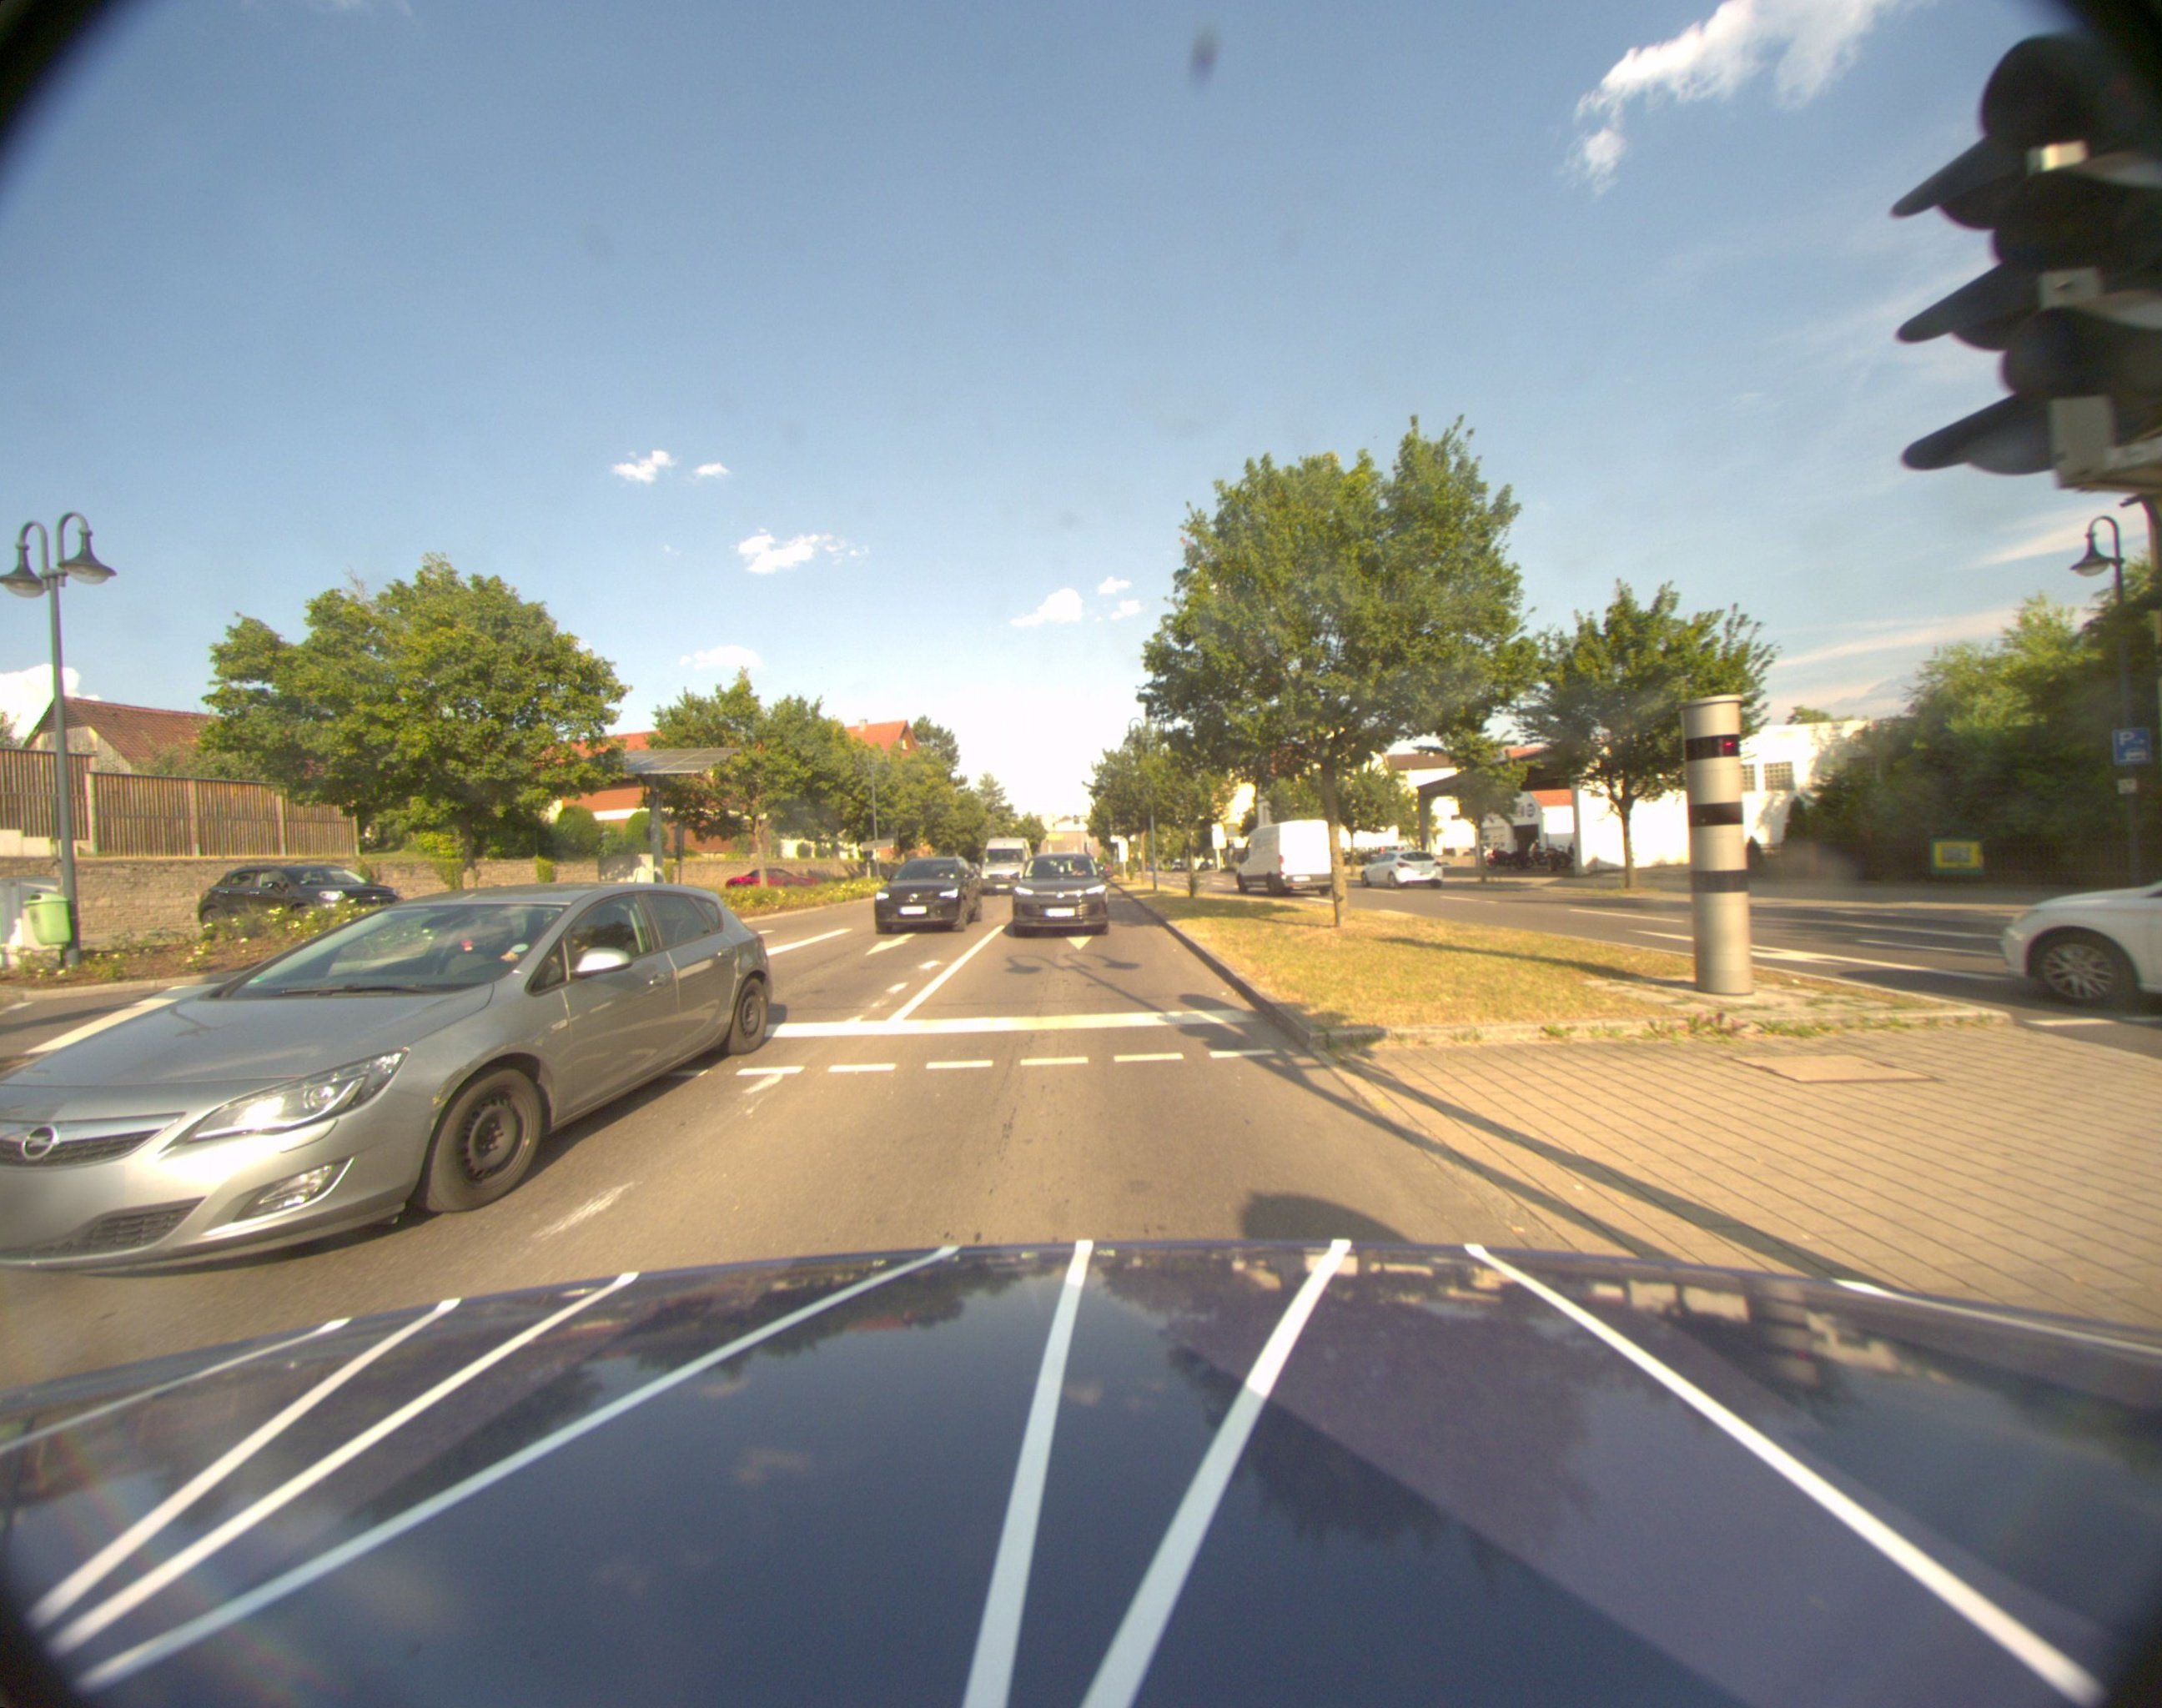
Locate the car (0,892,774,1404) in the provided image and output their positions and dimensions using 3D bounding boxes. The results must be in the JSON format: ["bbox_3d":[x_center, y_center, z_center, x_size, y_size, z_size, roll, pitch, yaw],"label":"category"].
[{"bbox_3d":[-3.500,1.032,4.457,1.651,1.414,4.144,-1,0,1],"label":"car"}]

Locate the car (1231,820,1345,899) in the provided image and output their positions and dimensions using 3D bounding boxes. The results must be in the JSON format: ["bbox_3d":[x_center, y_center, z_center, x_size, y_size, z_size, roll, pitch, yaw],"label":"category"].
[{"bbox_3d":[7.144,0.189,26.990,2.090,2.461,5.477,-2,0,-5],"label":"car"}]

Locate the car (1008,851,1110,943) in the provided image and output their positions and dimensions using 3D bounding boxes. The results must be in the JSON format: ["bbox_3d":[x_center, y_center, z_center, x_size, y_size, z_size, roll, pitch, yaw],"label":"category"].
[{"bbox_3d":[-0.382,0.791,15.763,1.768,1.582,4.056,-3,0,0],"label":"car"}]

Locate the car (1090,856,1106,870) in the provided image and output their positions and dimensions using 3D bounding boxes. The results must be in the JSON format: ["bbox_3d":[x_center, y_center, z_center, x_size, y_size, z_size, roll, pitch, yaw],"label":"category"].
[{"bbox_3d":[2.307,1.229,103.799,1.815,1.861,4.002,-2,0,6],"label":"car"}]

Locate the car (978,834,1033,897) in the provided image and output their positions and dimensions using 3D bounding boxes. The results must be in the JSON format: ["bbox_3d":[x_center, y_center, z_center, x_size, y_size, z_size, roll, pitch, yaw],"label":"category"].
[{"bbox_3d":[-3.433,0.498,35.811,2.040,2.642,6.648,-1,0,-1],"label":"car"}]

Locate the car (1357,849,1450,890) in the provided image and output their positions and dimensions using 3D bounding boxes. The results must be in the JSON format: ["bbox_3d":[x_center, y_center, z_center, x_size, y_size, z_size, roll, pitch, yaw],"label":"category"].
[{"bbox_3d":[12.362,0.553,29.440,1.696,1.405,4.213,-2,0,-1],"label":"car"}]

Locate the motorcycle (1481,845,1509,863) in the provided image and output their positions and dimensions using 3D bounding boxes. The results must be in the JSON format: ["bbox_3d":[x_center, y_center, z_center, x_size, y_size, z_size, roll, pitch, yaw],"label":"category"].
[{"bbox_3d":[27.597,0.027,50.658,0.488,1.139,2.118,-3,-1,-6],"label":"motorcycle"}]

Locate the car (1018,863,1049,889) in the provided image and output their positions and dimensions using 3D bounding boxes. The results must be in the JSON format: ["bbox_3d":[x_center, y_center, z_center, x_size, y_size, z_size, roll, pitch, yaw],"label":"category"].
[{"bbox_3d":[-3.185,1.471,52.014,1.768,1.582,4.056,-3,0,0],"label":"car"}]

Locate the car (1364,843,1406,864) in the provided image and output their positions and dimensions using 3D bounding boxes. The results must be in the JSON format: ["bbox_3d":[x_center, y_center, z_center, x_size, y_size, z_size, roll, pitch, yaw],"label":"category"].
[{"bbox_3d":[24.142,-0.025,60.339,3.438,1.555,1.583,-2,0,-39],"label":"car"}]

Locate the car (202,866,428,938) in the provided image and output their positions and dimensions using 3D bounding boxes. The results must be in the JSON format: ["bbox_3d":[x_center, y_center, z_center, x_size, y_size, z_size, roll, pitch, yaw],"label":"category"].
[{"bbox_3d":[-17.505,1.079,17.417,4.072,1.448,1.680,-2,0,13],"label":"car"}]

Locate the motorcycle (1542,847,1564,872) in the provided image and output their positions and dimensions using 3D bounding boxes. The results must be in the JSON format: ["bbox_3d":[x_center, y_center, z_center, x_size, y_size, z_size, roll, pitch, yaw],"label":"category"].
[{"bbox_3d":[21.552,0.240,34.679,0.549,1.092,2.052,-3,-1,40],"label":"motorcycle"}]

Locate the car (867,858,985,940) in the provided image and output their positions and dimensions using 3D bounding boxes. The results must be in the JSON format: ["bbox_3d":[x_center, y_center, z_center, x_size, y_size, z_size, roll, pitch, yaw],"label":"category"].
[{"bbox_3d":[-3.371,0.921,17.324,1.792,1.596,4.056,-2,0,0],"label":"car"}]

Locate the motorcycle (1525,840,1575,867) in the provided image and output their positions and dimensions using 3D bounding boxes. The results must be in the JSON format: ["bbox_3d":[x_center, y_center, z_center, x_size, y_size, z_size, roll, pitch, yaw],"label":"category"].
[{"bbox_3d":[24.039,-0.012,39.005,0.489,1.314,2.114,-2,-1,-32],"label":"motorcycle"}]

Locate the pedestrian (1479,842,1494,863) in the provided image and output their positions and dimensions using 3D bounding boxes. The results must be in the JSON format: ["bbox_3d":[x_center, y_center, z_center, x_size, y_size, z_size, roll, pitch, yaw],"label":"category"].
[{"bbox_3d":[27.040,-0.094,50.635,0.596,1.332,0.584,-2,0,-7],"label":"pedestrian"}]

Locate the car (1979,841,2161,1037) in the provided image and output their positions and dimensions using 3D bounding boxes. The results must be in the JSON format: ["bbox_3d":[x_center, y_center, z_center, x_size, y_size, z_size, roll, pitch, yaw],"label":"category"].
[{"bbox_3d":[8.849,0.612,4.728,1.762,1.403,4.000,-2,0,0],"label":"car"}]

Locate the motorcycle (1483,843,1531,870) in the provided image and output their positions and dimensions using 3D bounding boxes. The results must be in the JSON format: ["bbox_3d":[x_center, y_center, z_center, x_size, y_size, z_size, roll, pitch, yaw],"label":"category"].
[{"bbox_3d":[21.849,0.146,38.995,0.489,1.314,2.114,-2,-1,-31],"label":"motorcycle"}]

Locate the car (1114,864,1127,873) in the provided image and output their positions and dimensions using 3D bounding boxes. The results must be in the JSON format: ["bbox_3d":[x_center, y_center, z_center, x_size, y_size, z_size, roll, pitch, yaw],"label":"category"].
[{"bbox_3d":[7.486,2.668,143.165,1.780,1.516,3.843,-2,0,14],"label":"car"}]

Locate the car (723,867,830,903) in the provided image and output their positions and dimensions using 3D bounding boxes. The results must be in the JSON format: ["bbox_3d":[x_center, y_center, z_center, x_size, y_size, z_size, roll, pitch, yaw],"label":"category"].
[{"bbox_3d":[-13.439,1.363,33.670,3.994,1.422,1.749,-2,0,8],"label":"car"}]

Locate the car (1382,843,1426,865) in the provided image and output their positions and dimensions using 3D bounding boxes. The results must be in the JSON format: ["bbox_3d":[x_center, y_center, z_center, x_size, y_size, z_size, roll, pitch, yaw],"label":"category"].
[{"bbox_3d":[24.468,0.002,57.559,3.438,1.534,1.617,-2,0,-39],"label":"car"}]

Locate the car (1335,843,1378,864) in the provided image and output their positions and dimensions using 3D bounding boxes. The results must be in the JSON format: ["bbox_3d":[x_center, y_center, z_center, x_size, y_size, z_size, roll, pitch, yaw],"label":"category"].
[{"bbox_3d":[22.682,-0.070,62.519,3.417,1.616,1.857,-1,0,-41],"label":"car"}]
